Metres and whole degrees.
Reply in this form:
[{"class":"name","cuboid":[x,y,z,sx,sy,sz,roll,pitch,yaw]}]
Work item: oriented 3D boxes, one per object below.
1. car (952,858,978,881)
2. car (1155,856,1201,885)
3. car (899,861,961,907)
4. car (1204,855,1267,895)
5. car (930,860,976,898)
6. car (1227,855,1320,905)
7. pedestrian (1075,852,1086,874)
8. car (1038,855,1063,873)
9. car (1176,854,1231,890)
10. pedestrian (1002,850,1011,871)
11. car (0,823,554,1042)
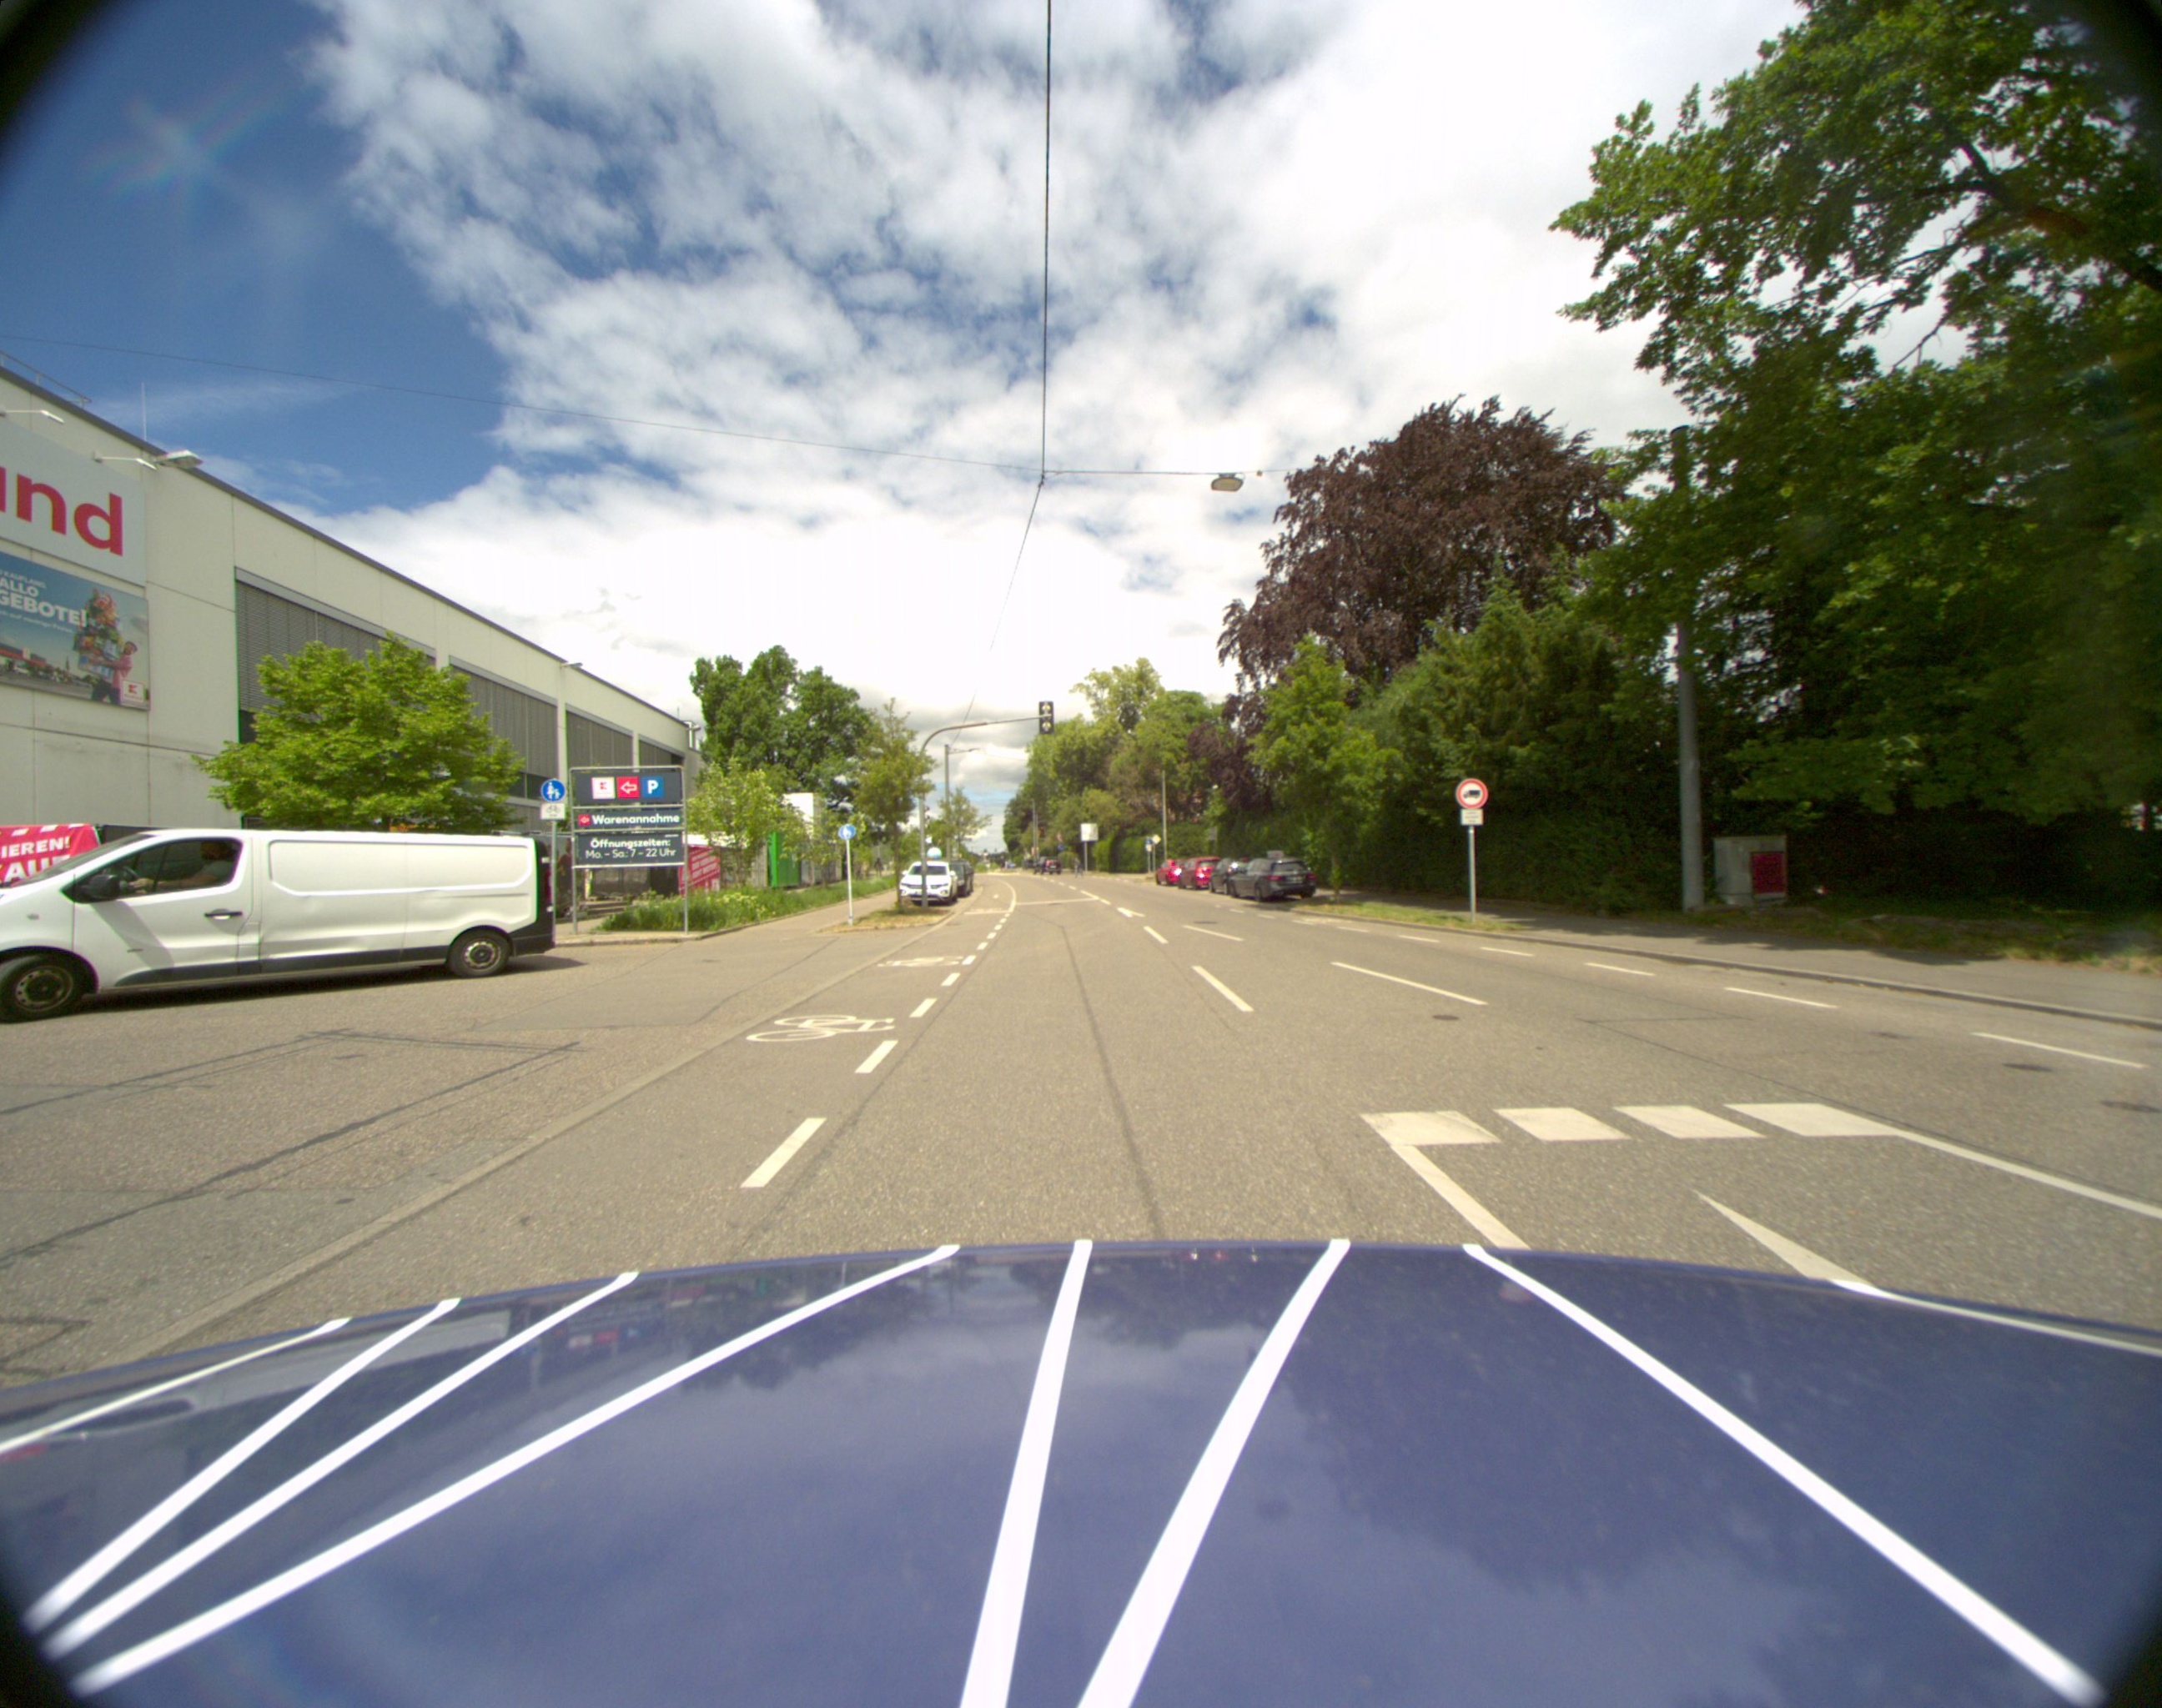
[{"class":"car","cuboid":[-8.618,1.101,56.255,1.706,1.522,3.996,-3,0,-11]},{"class":"car","cuboid":[5.110,0.831,40.265,1.531,1.358,3.372,-3,1,-8]},{"class":"car","cuboid":[-5.468,1.049,27.886,1.795,1.522,3.919,1,0,-5]},{"class":"car","cuboid":[6.157,0.814,30.530,1.559,1.404,3.192,-3,1,-5]},{"class":"car","cuboid":[-5.575,1.060,33.515,1.603,1.552,3.789,1,0,-4]},{"class":"car","cuboid":[6.468,0.805,26.038,1.688,1.407,4.399,-3,1,-5]},{"class":"pedestrian","cuboid":[-0.028,0.686,57.416,0.554,1.663,0.587,-3,1,-22]},{"class":"car","cuboid":[-2.886,0.929,71.050,1.851,1.546,3.946,-3,0,-10]},{"class":"car","cuboid":[5.611,0.786,35.084,1.523,1.469,3.322,-3,1,-9]},{"class":"pedestrian","cuboid":[-7.475,0.654,76.299,0.700,2.002,0.724,-3,1,4]},{"class":"car","cuboid":[-9.771,0.739,9.027,1.994,2.011,5.363,2,0,33]}]
